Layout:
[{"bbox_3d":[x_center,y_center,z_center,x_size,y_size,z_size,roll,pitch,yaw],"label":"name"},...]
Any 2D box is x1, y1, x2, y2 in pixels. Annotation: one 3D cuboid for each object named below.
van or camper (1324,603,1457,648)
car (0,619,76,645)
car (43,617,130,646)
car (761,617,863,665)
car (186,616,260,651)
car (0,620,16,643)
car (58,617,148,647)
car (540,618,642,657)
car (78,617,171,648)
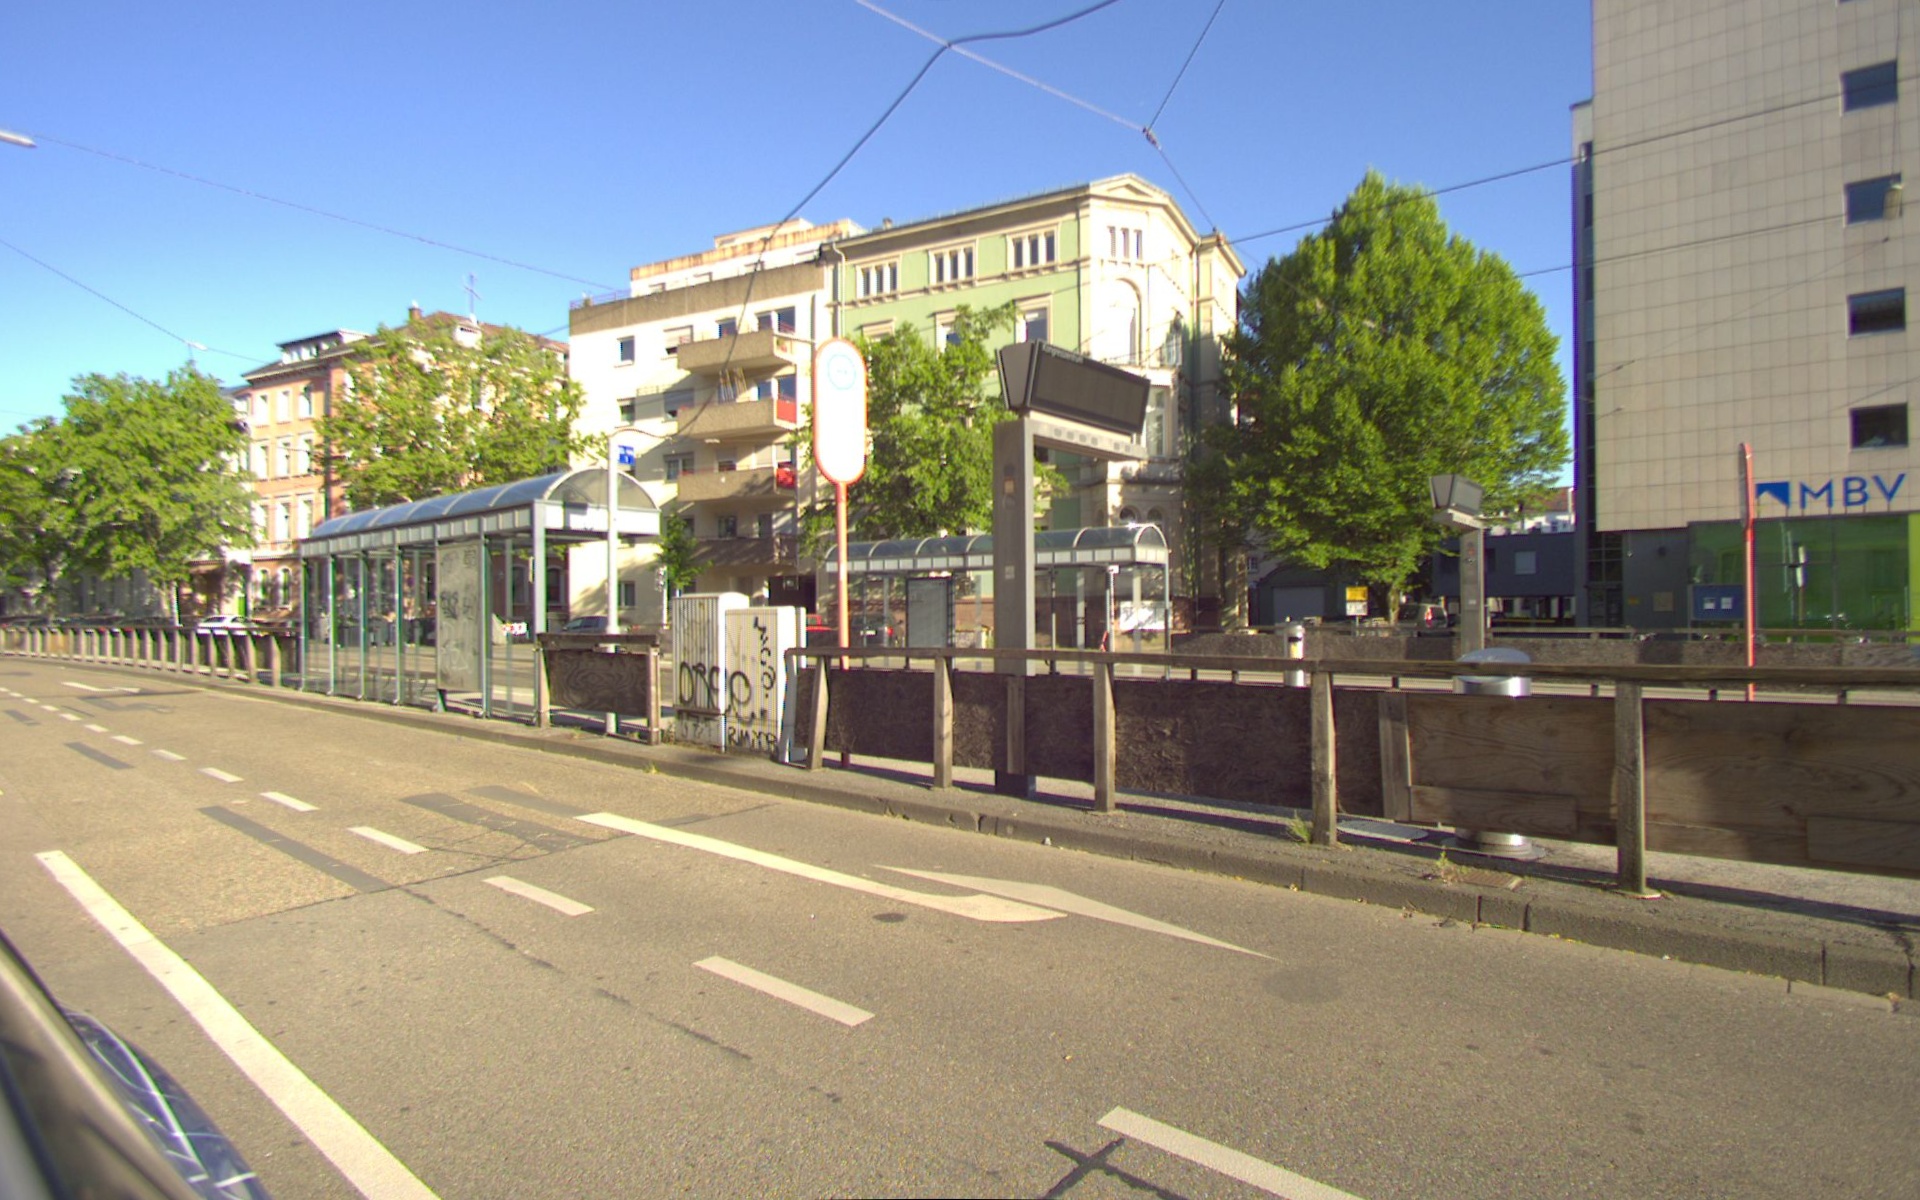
[{"bbox_3d":[15.504,0.889,36.551,3.998,1.417,1.943,2,0,41],"label":"van or camper"},{"bbox_3d":[-59.610,2.063,65.277,3.811,1.604,2.001,1,-2,-45],"label":"car"},{"bbox_3d":[-54.301,1.938,62.966,2.001,1.697,3.942,-2,-2,44],"label":"car"},{"bbox_3d":[-5.003,1.368,34.695,1.763,1.547,3.763,-1,-2,23],"label":"car"},{"bbox_3d":[-39.522,1.756,54.381,1.966,1.736,4.012,0,1,-15],"label":"car"},{"bbox_3d":[-68.100,2.196,70.122,2.001,1.604,3.812,-2,-2,44],"label":"car"},{"bbox_3d":[-51.294,1.892,60.637,2.001,1.697,3.942,-2,-2,44],"label":"car"},{"bbox_3d":[-14.004,1.416,38.400,3.498,1.406,1.602,-1,-2,22],"label":"car"},{"bbox_3d":[-47.977,1.828,58.164,2.001,1.697,3.942,-2,-2,44],"label":"car"}]
